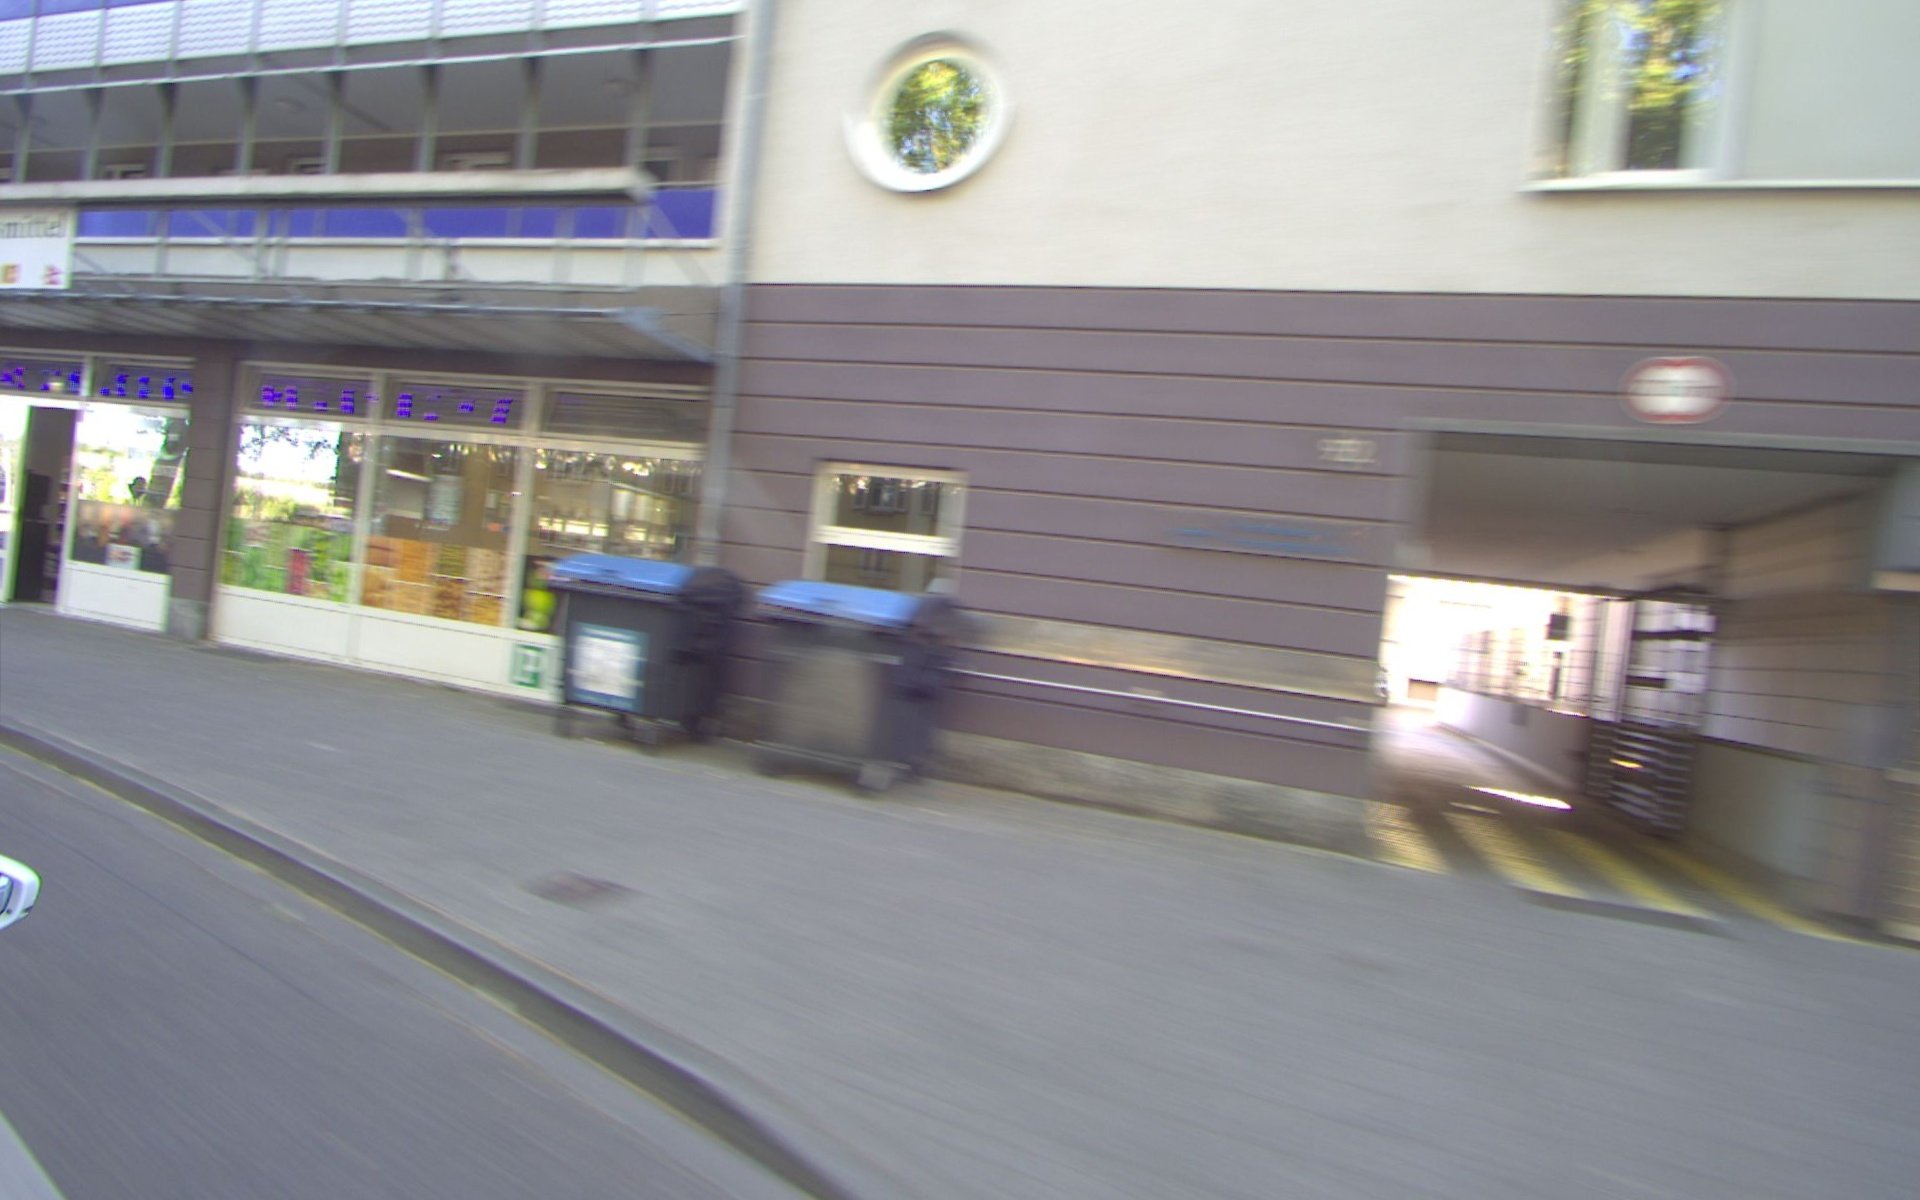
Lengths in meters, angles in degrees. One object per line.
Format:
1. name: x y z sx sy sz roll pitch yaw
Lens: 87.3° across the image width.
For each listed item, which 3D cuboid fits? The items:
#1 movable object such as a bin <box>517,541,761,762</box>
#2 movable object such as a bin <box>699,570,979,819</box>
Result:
1. movable object such as a bin: -2.545 0.381 8.089 1.362 1.504 1.113 6 2 19
2. movable object such as a bin: -0.852 0.630 7.419 1.565 1.504 1.189 6 2 19
